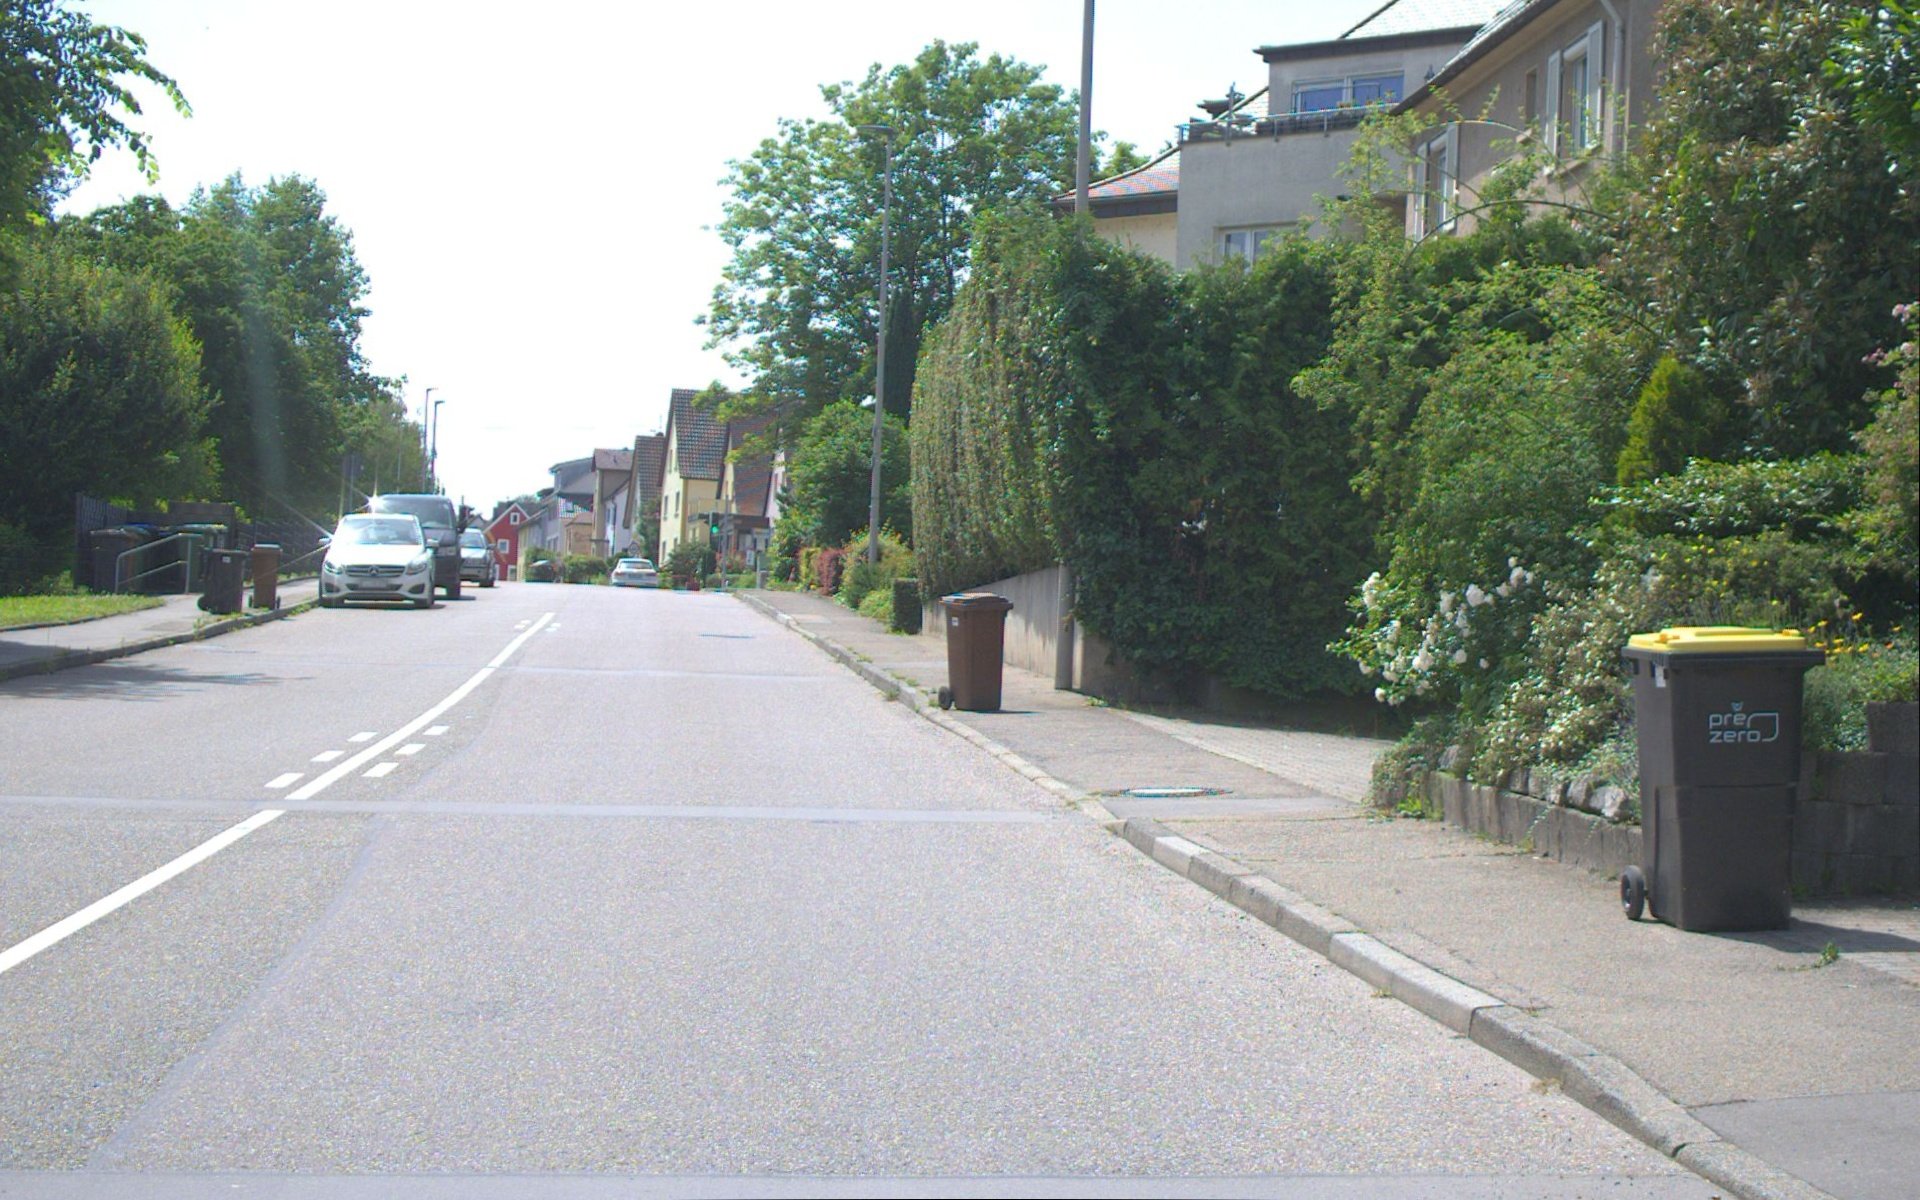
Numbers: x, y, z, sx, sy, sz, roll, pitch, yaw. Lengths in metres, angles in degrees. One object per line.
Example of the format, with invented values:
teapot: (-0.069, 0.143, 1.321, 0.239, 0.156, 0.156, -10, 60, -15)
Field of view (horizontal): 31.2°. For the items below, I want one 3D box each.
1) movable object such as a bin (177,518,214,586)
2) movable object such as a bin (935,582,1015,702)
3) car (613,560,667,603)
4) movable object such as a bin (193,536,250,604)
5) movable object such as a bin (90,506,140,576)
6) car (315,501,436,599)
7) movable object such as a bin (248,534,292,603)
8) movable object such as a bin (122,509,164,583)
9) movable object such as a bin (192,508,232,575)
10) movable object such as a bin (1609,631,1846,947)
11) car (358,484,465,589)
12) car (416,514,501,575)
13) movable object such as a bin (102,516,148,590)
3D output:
movable object such as a bin: (-12.416, -0.784, 55.828, 0.516, 1.100, 0.529, 1, 1, -6)
movable object such as a bin: (0.124, 0.347, 28.981, 0.588, 0.974, 0.786, 0, 1, -6)
car: (-12.490, -0.740, 133.896, 1.993, 1.598, 4.001, 0, 1, -7)
movable object such as a bin: (-10.254, -0.417, 47.731, 0.619, 0.914, 0.686, 1, 1, 1)
movable object such as a bin: (-13.386, -0.937, 54.462, 0.602, 1.092, 0.650, 1, 1, 1)
car: (-9.863, -0.877, 58.230, 1.810, 1.544, 4.244, 2, 1, -8)
movable object such as a bin: (-10.134, -0.465, 50.506, 0.506, 0.985, 0.563, 1, 1, 1)
movable object such as a bin: (-13.317, -0.881, 56.042, 0.476, 1.174, 0.840, 1, 1, 0)
movable object such as a bin: (-12.443, -0.971, 57.227, 0.497, 1.101, 0.710, 0, 0, 1)
movable object such as a bin: (2.742, 0.659, 12.346, 0.588, 1.055, 0.919, 1, 1, -3)
car: (-10.437, -1.241, 65.619, 1.896, 1.913, 4.872, 0, 2, -8)
car: (-12.024, -1.313, 82.564, 1.780, 1.389, 4.410, 1, 0, -5)
movable object such as a bin: (-13.408, -0.753, 55.193, 0.547, 1.174, 0.674, 1, 1, 0)
